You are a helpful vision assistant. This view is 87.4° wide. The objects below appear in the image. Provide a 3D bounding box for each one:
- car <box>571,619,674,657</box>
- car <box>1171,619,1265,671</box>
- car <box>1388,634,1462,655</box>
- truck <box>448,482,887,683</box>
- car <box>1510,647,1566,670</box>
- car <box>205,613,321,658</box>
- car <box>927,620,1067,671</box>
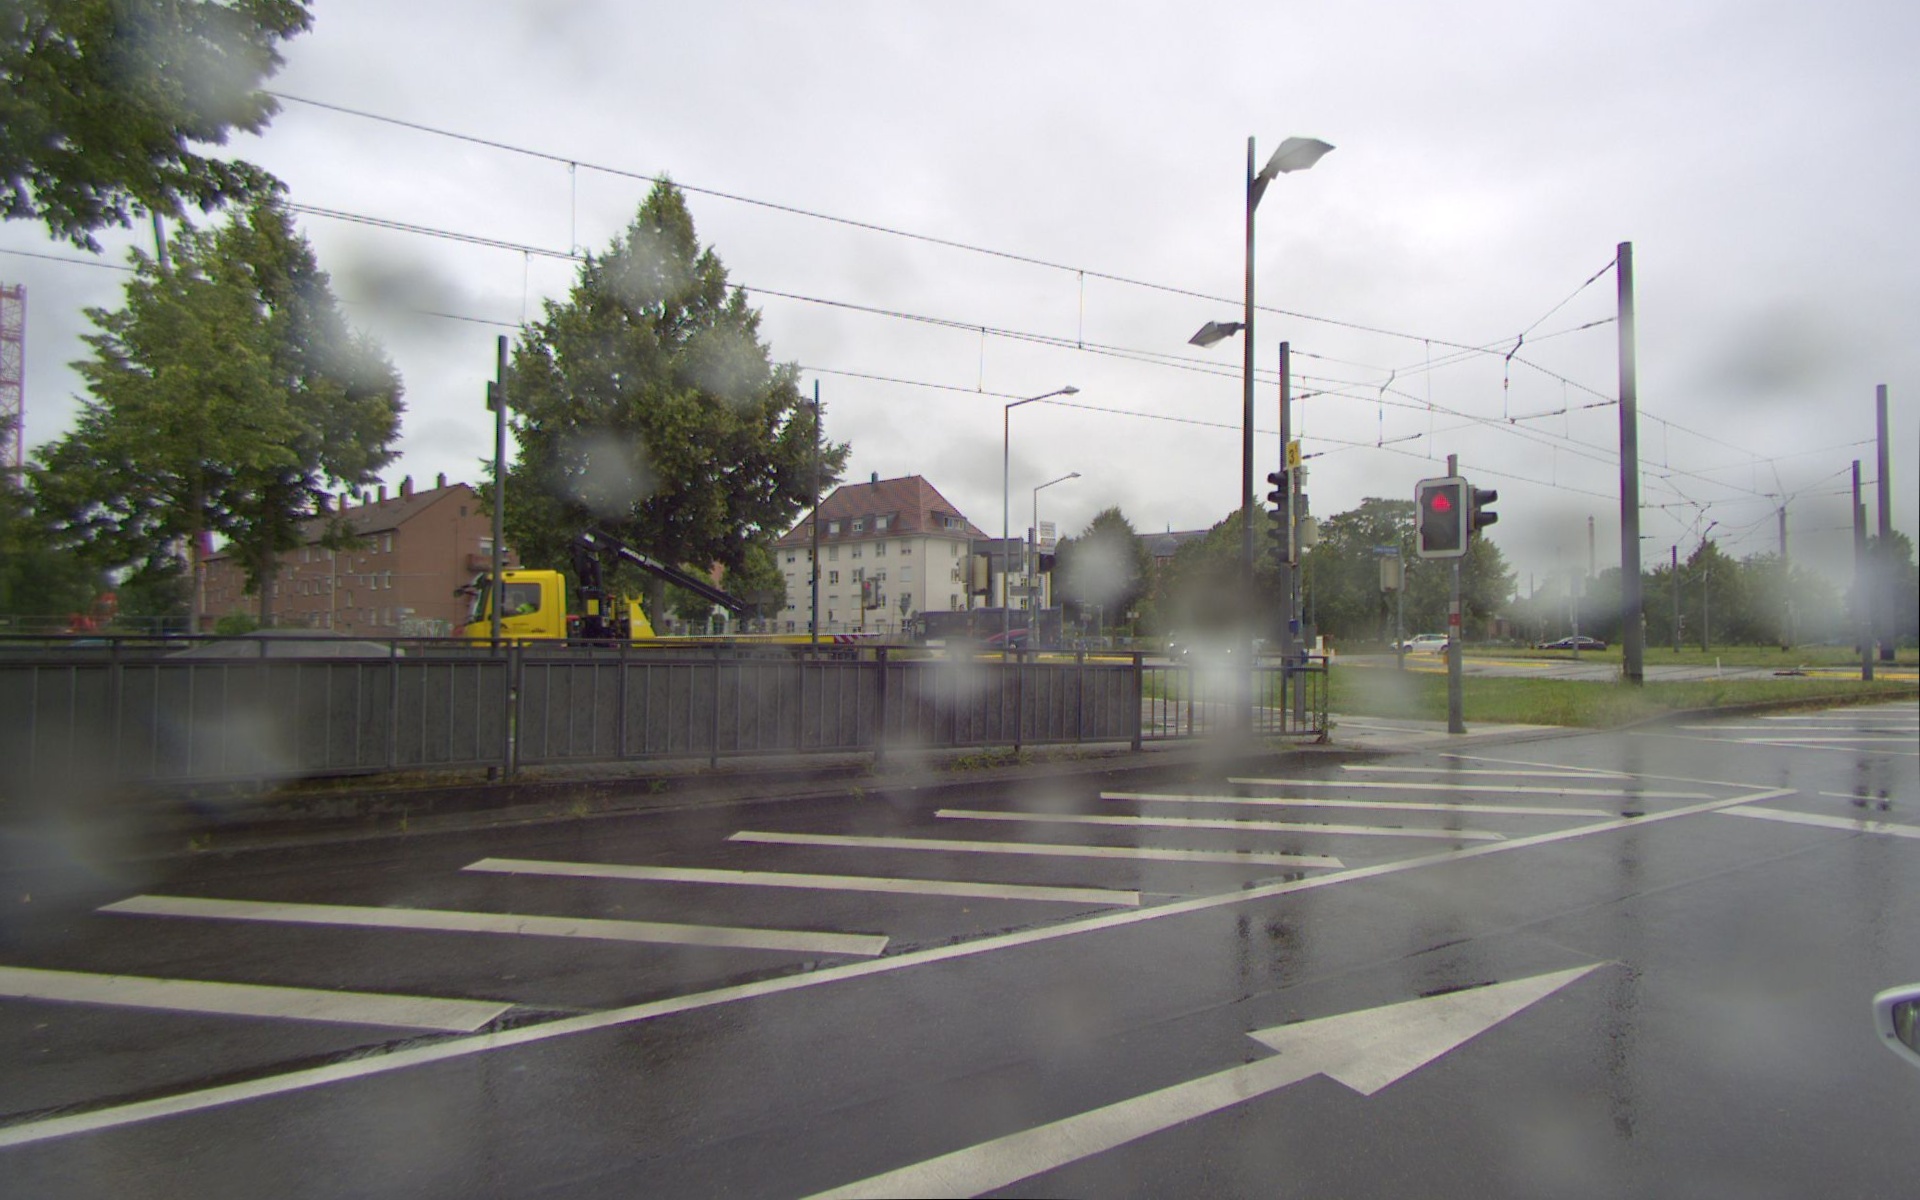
[{"bbox_3d":[-20.981,2.351,62.701,6.004,2.308,1.617,0,-2,-18],"label":"car"},{"bbox_3d":[8.861,1.482,34.258,1.965,1.649,4.395,-1,-2,30],"label":"car"},{"bbox_3d":[33.515,3.220,72.451,4.530,1.473,1.624,0,-1,3],"label":"car"},{"bbox_3d":[-6.327,-0.201,22.659,9.079,3.828,2.673,2,0,-31],"label":"truck"},{"bbox_3d":[45.137,4.555,78.463,3.415,1.563,1.622,2,0,-1],"label":"car"},{"bbox_3d":[-40.758,2.106,58.850,5.441,2.485,1.980,2,0,-36],"label":"car"},{"bbox_3d":[2.826,3.464,78.119,10.753,3.770,2.456,0,-2,24],"label":"car"}]
